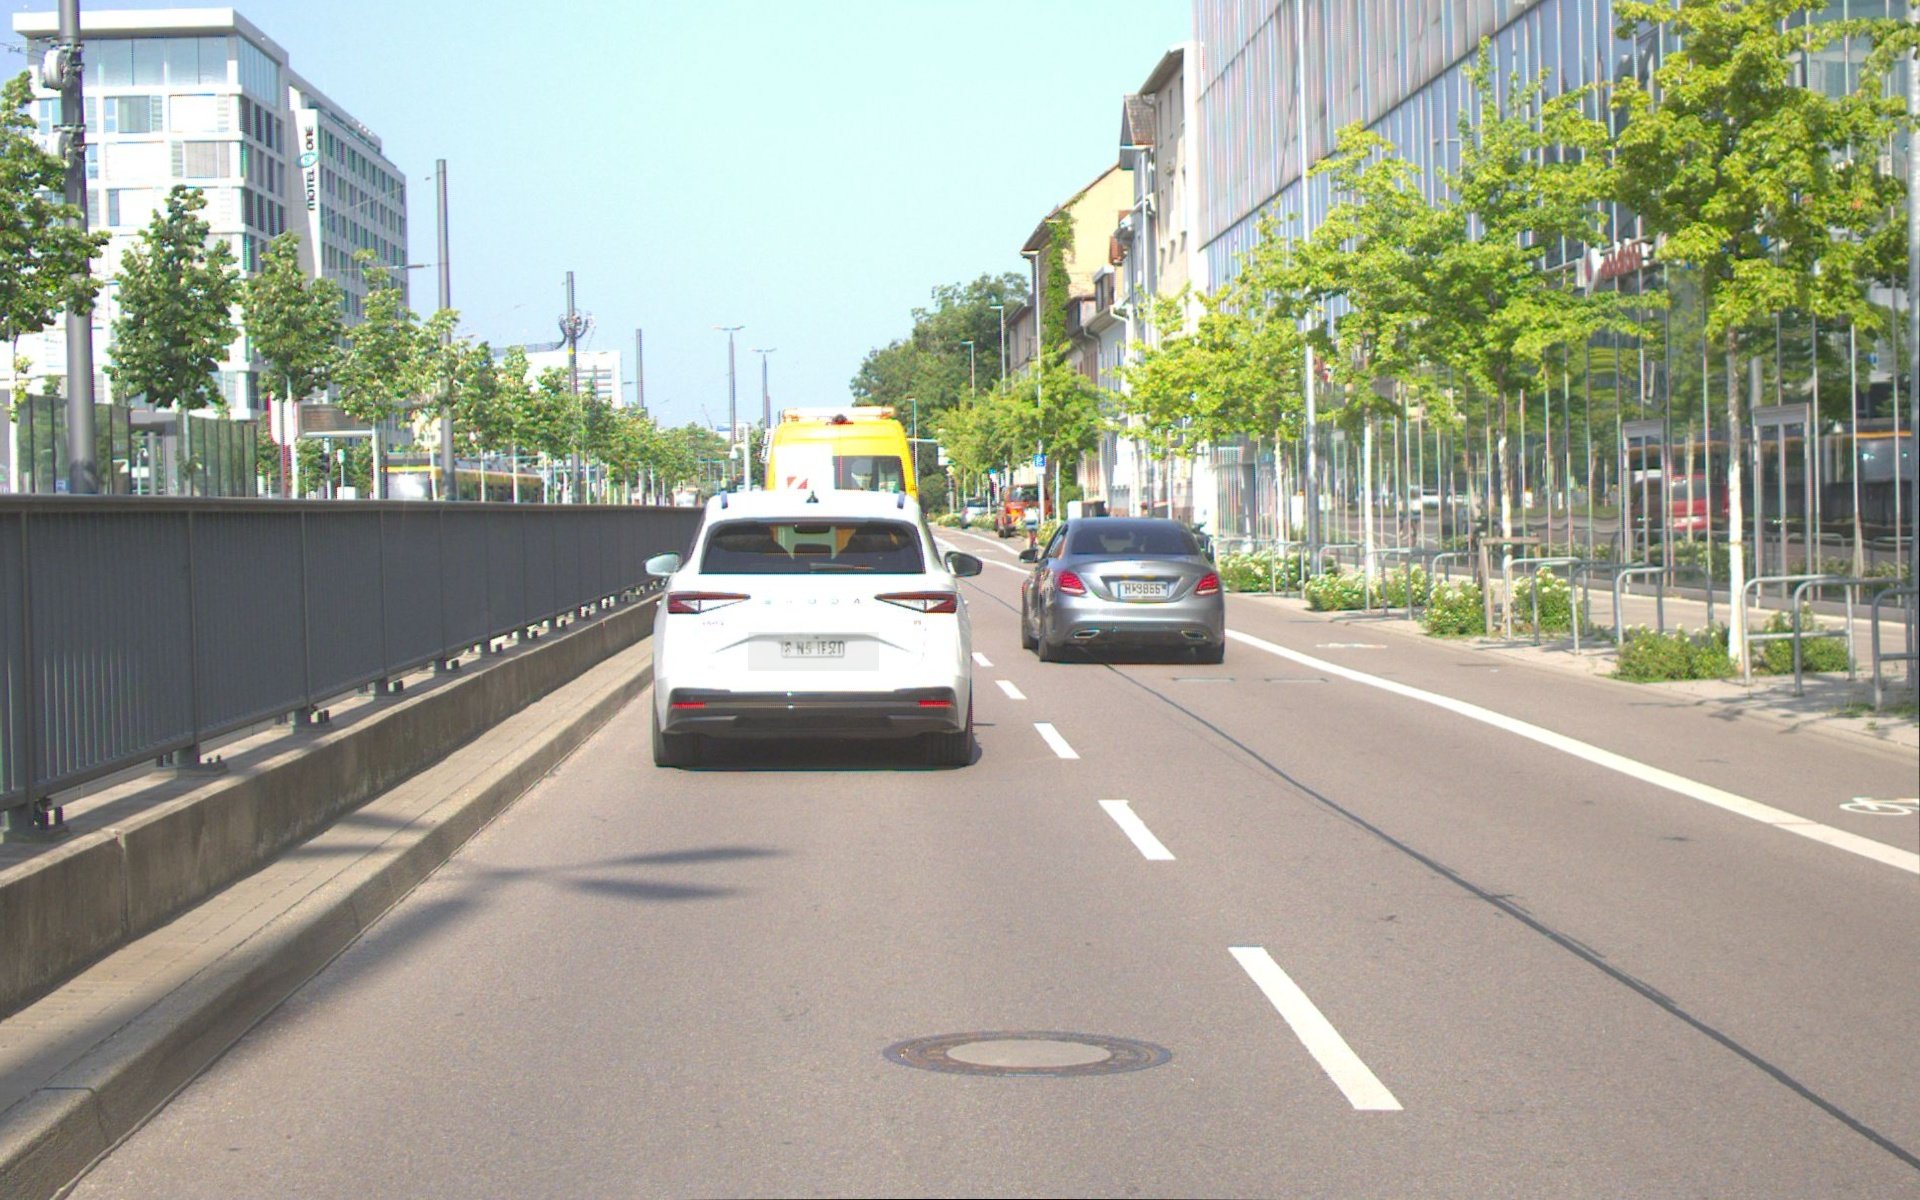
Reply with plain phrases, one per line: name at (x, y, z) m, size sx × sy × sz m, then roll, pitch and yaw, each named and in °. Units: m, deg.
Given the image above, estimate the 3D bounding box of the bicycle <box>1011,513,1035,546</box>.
bicycle at (1.842, -2.074, 100.745) m, size 0.655 × 0.935 × 1.517 m, roll -1°, pitch 2°, yaw 1°

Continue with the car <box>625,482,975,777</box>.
car at (-0.919, 0.092, 20.720) m, size 1.870 × 1.569 × 4.001 m, roll -1°, pitch 2°, yaw -1°

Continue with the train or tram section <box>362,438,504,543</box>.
train or tram section at (-19.700, -4.094, 129.833) m, size 2.906 × 3.663 × 18.139 m, roll 1°, pitch 2°, yaw -1°

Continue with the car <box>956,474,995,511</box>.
car at (0.765, -5.462, 174.132) m, size 1.812 × 1.806 × 3.836 m, roll -1°, pitch 2°, yaw -2°

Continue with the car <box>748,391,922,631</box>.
car at (-1.554, -1.222, 43.741) m, size 2.020 × 2.786 × 5.402 m, roll -1°, pitch 4°, yaw -1°

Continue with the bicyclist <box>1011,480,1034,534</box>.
bicyclist at (1.838, -2.729, 100.604) m, size 0.639 × 1.571 × 0.771 m, roll -1°, pitch 2°, yaw 1°

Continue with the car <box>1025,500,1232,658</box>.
car at (1.622, -0.252, 34.346) m, size 1.760 × 1.431 × 4.116 m, roll 1°, pitch 2°, yaw -1°

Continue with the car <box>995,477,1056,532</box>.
car at (2.462, -3.639, 130.546) m, size 2.063 × 2.006 × 4.589 m, roll -1°, pitch 2°, yaw -2°

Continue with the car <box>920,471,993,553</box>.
car at (-0.075, -2.220, 86.802) m, size 1.788 × 2.007 × 4.000 m, roll 1°, pitch 2°, yaw 0°
